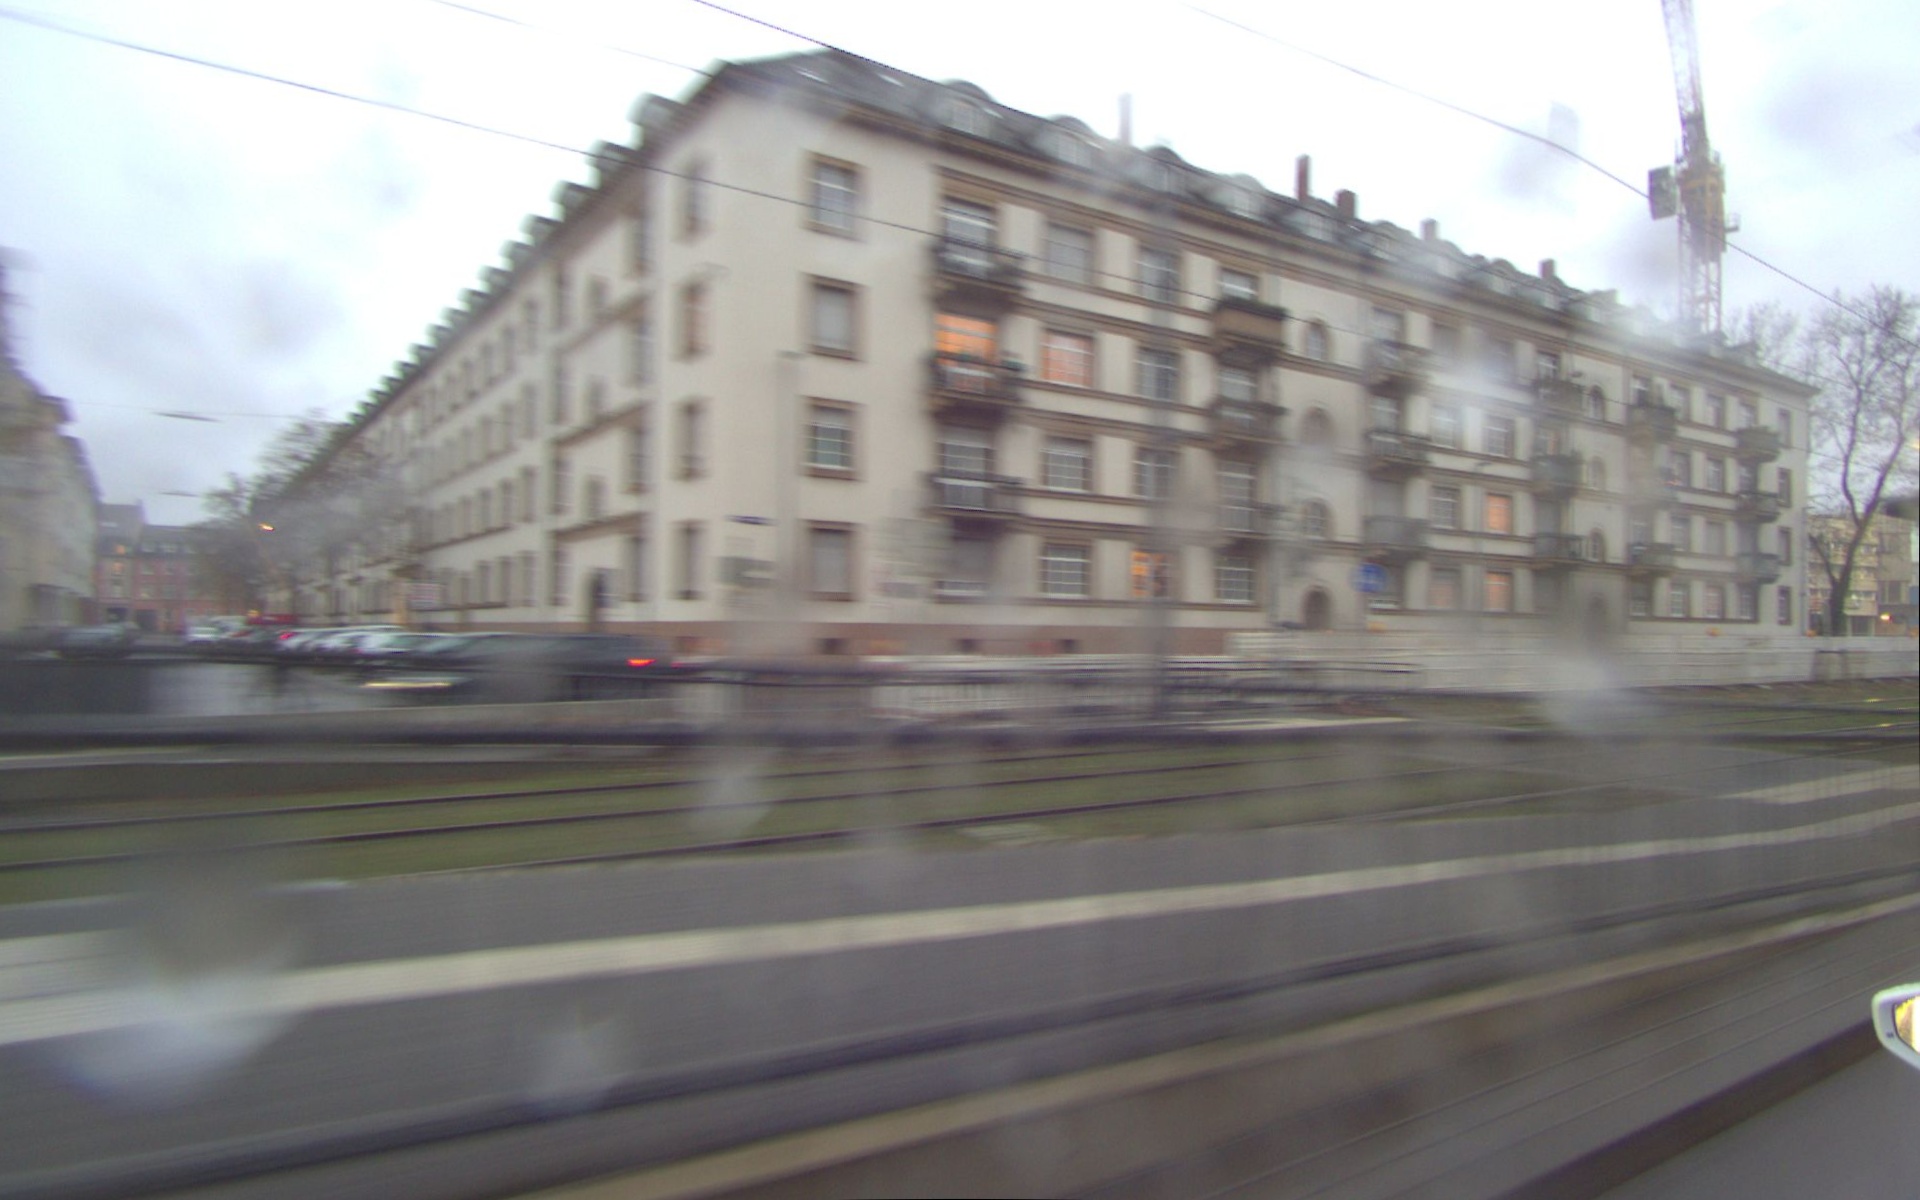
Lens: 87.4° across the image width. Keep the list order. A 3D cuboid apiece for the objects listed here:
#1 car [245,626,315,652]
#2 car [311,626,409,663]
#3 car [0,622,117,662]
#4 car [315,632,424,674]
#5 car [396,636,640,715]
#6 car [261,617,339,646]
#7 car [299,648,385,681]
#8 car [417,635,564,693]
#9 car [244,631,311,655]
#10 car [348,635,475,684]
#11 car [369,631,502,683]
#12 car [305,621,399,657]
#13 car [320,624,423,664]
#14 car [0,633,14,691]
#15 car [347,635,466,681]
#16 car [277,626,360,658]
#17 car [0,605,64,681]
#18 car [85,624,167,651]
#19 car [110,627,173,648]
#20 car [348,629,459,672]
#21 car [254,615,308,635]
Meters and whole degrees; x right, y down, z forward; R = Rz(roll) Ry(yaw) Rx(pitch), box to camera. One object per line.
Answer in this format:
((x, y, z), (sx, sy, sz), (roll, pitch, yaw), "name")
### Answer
((-39.438, 2.271, 58.279), (3.283, 1.444, 1.445), (2, -2, -35), "car")
((-24.098, 1.775, 40.366), (3.283, 1.444, 1.445), (2, -2, -35), "car")
((-34.091, 1.583, 37.946), (3.283, 1.444, 1.445), (2, -2, -35), "car")
((-21.282, 1.879, 36.239), (3.283, 1.444, 1.445), (2, -2, -35), "car")
((-7.023, 1.157, 16.061), (3.390, 1.138, 1.446), (2, -2, -33), "car")
((-33.785, 1.642, 51.445), (3.283, 1.444, 1.445), (2, -2, -35), "car")
((-28.376, 2.940, 46.120), (3.283, 1.444, 1.445), (2, -2, -35), "car")
((-12.906, 1.711, 27.695), (3.402, 1.498, 1.441), (2, -3, -43), "car")
((-41.143, 2.582, 60.636), (3.283, 1.444, 1.445), (2, -2, -35), "car")
((-16.852, 1.792, 30.877), (3.283, 1.444, 1.445), (2, -2, -35), "car")
((-15.272, 1.640, 29.303), (3.283, 1.444, 1.445), (2, -2, -35), "car")
((-25.473, 1.620, 42.095), (3.283, 1.444, 1.445), (2, -2, -35), "car")
((-22.488, 1.669, 38.399), (3.283, 1.444, 1.445), (2, -2, -35), "car")
((-26.062, 1.520, 24.593), (4.113, 1.449, 1.587), (2, -3, -42), "car")
((-18.146, 1.864, 32.978), (3.283, 1.444, 1.445), (2, -2, -35), "car")
((-30.478, 1.981, 47.741), (3.283, 1.444, 1.445), (2, -2, -35), "car")
((-27.063, 1.161, 27.201), (4.113, 2.061, 1.727), (2, -2, -42), "car")
((-45.620, 2.060, 55.001), (3.283, 1.444, 1.445), (2, -2, -35), "car")
((-57.840, 2.628, 71.024), (3.283, 1.444, 1.445), (2, -2, -35), "car")
((-19.594, 1.760, 35.400), (3.283, 1.444, 1.445), (2, -2, -35), "car")
((-50.614, 1.872, 74.897), (3.283, 1.444, 1.445), (2, -2, -35), "car")
